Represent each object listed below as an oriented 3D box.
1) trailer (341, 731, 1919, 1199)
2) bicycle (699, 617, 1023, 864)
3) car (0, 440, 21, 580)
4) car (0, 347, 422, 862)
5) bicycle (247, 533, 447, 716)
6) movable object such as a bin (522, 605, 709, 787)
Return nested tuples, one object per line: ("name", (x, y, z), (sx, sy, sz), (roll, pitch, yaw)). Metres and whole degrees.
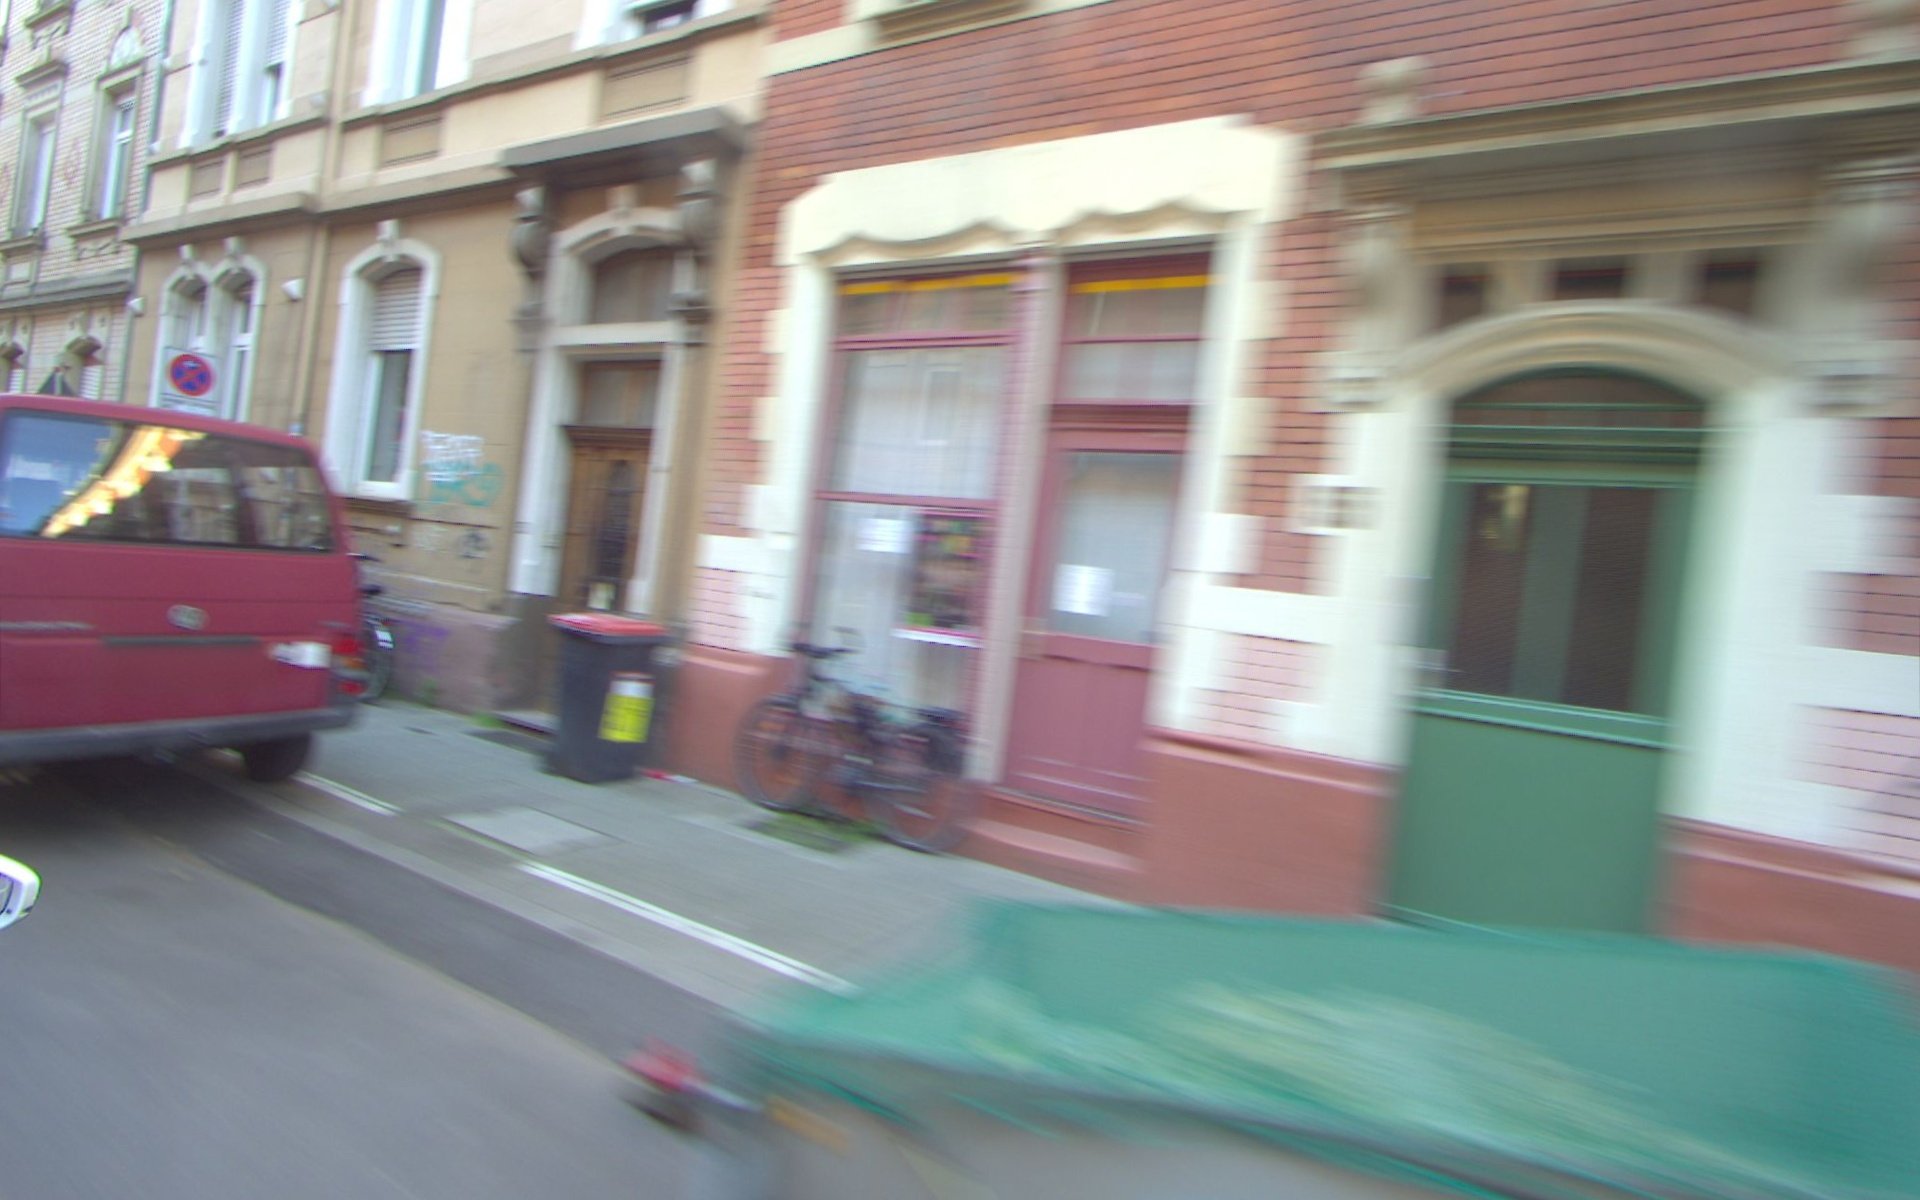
("trailer", (0.428, 1.095, 2.010), (2.987, 1.124, 1.510), (7, -4, 30))
("bicycle", (-0.649, 0.779, 6.235), (1.866, 1.137, 0.701), (8, 4, 31))
("car", (-10.012, -0.608, 8.526), (4.193, 1.983, 1.773), (7, -2, 31))
("car", (-5.440, -0.125, 5.788), (4.663, 2.036, 1.836), (7, -2, 32))
("bicycle", (-5.259, 0.174, 8.604), (1.664, 1.321, 0.727), (7, 3, 32))
("movable object such as a bin", (-2.341, 0.620, 6.888), (0.710, 1.075, 0.896), (7, 3, 29))
